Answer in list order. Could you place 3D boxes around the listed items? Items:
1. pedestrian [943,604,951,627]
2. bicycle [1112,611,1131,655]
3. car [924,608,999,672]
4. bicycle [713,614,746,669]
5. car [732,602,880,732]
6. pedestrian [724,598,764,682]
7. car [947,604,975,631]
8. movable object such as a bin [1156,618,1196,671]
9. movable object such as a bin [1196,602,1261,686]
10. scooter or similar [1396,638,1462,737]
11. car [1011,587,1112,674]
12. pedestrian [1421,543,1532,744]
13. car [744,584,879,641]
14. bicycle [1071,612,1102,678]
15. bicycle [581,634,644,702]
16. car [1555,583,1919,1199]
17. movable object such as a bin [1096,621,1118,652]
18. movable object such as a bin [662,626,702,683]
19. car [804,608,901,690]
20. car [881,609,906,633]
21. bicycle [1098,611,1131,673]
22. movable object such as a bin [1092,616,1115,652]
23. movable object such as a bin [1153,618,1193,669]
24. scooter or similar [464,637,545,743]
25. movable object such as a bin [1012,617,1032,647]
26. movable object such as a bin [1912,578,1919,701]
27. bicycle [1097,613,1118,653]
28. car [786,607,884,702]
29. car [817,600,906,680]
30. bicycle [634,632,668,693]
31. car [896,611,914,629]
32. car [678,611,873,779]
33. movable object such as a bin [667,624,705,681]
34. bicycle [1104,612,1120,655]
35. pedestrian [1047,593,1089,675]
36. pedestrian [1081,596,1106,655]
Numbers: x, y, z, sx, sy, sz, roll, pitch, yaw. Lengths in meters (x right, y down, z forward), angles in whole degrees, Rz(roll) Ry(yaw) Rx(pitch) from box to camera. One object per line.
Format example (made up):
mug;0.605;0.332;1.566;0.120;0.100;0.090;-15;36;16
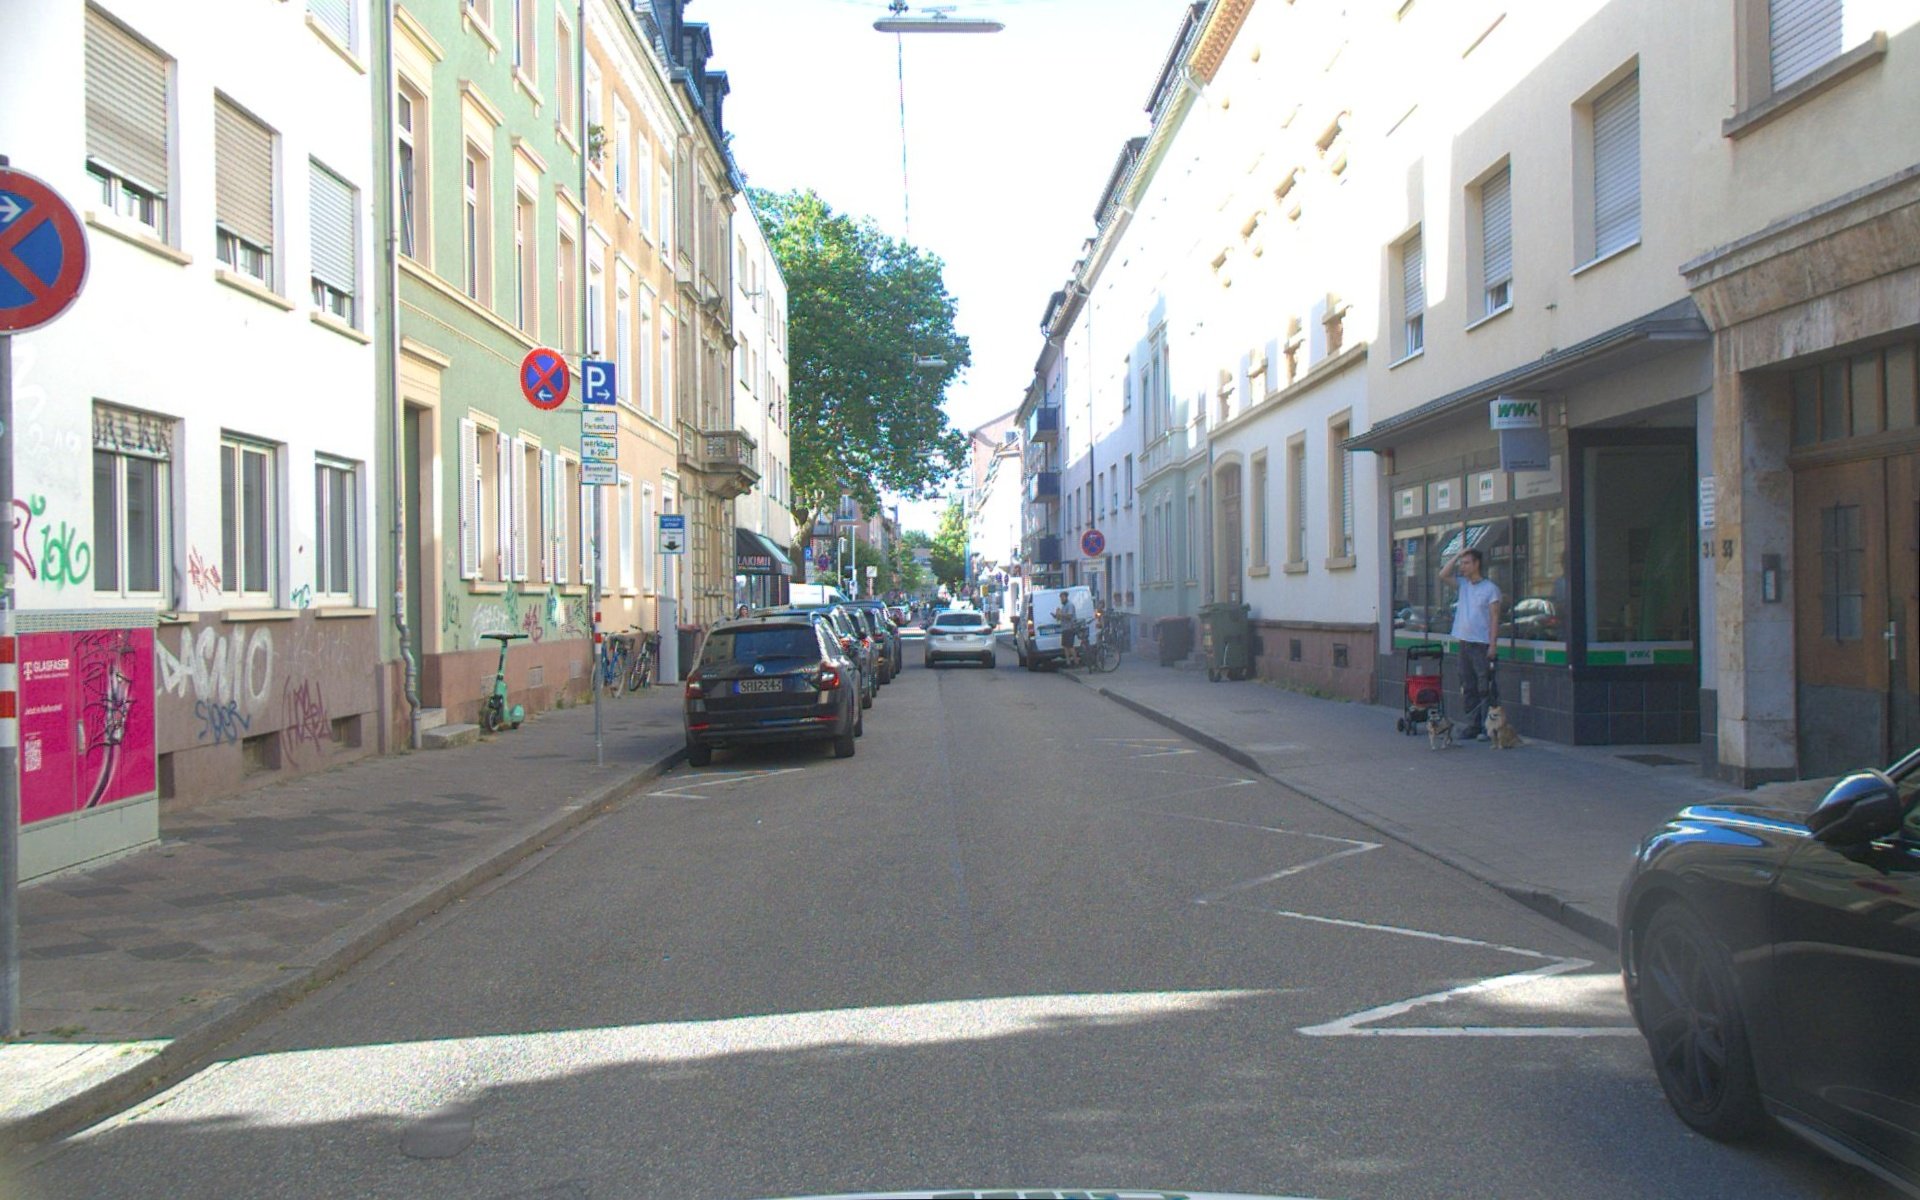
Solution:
pedestrian;-1.225;1.431;154.345;0.755;2.155;0.834;-1;-1;0
bicycle;4.630;0.951;47.478;0.397;1.227;2.160;-1;-1;2
car;0.001;0.999;42.550;1.787;1.540;3.822;-1;0;-2
bicycle;-5.600;1.005;40.223;0.500;1.299;1.867;-1;-1;0
car;-2.149;0.884;24.203;1.708;1.643;4.602;-2;0;0
pedestrian;-4.608;0.845;35.285;0.749;1.744;0.883;1;0;-2
car;0.057;1.304;124.383;1.904;1.982;4.075;0;-1;-3
movable object such as a bin;4.703;0.964;35.979;0.780;1.115;0.642;-1;-1;1
movable object such as a bin;4.756;0.795;29.388;0.820;1.414;1.296;-3;-2;-2
scooter or similar;4.868;0.900;17.198;0.480;0.961;0.869;-2;0;5
car;2.479;0.725;41.719;1.944;1.916;5.598;-4;0;-1
pedestrian;5.067;0.418;16.243;0.639;1.892;0.743;-3;0;-23
car;-7.522;0.648;84.244;6.601;2.599;2.145;2;-1;0
bicycle;2.723;0.952;35.760;0.563;1.344;2.200;-2;0;3
bicycle;-5.643;1.085;26.924;0.353;1.046;1.919;-1;-1;8
car;2.996;0.764;3.326;1.764;1.606;4.896;0;0;-1
movable object such as a bin;4.535;1.128;51.167;0.565;0.940;0.607;-3;-1;-1
movable object such as a bin;-5.639;1.105;33.603;0.721;1.108;0.682;-1;1;-5
car;-2.190;0.987;34.764;1.678;1.558;4.367;-2;0;0
car;-4.850;1.510;121.054;1.734;1.616;3.725;-1;0;-2
bicycle;3.356;0.892;36.097;0.563;1.293;2.200;-3;0;3
movable object such as a bin;4.499;1.063;51.777;0.603;1.081;0.602;-2;0;-2
movable object such as a bin;4.714;0.956;36.651;0.796;1.107;0.674;-1;-1;1
scooter or similar;-5.466;1.059;19.934;0.444;1.202;1.691;-1;-1;2
movable object such as a bin;2.312;1.195;61.659;0.717;1.100;0.703;-1;-1;0
movable object such as a bin;5.165;0.597;7.586;0.731;1.461;1.372;-3;-1;1
bicycle;4.457;1.006;49.899;0.557;1.173;1.869;-1;-1;4
car;-2.205;0.925;29.997;1.583;1.581;3.976;-1;0;-2
car;-2.330;0.926;40.280;1.897;1.766;5.140;-2;0;-1
bicycle;-5.645;1.126;30.274;0.394;1.074;1.835;-1;-1;-4
car;-5.054;1.873;153.266;1.540;1.613;3.610;-1;-1;0
car;-1.907;0.931;18.348;1.679;1.514;4.850;-3;0;-2
movable object such as a bin;-5.668;1.085;34.224;0.705;1.152;0.584;-1;-1;-5
bicycle;4.488;0.977;48.811;0.428;1.227;2.267;-1;-1;6
pedestrian;2.485;0.782;38.091;0.848;1.869;0.883;-1;-1;-3
pedestrian;3.946;0.755;48.854;0.641;1.741;0.687;-1;-1;10
